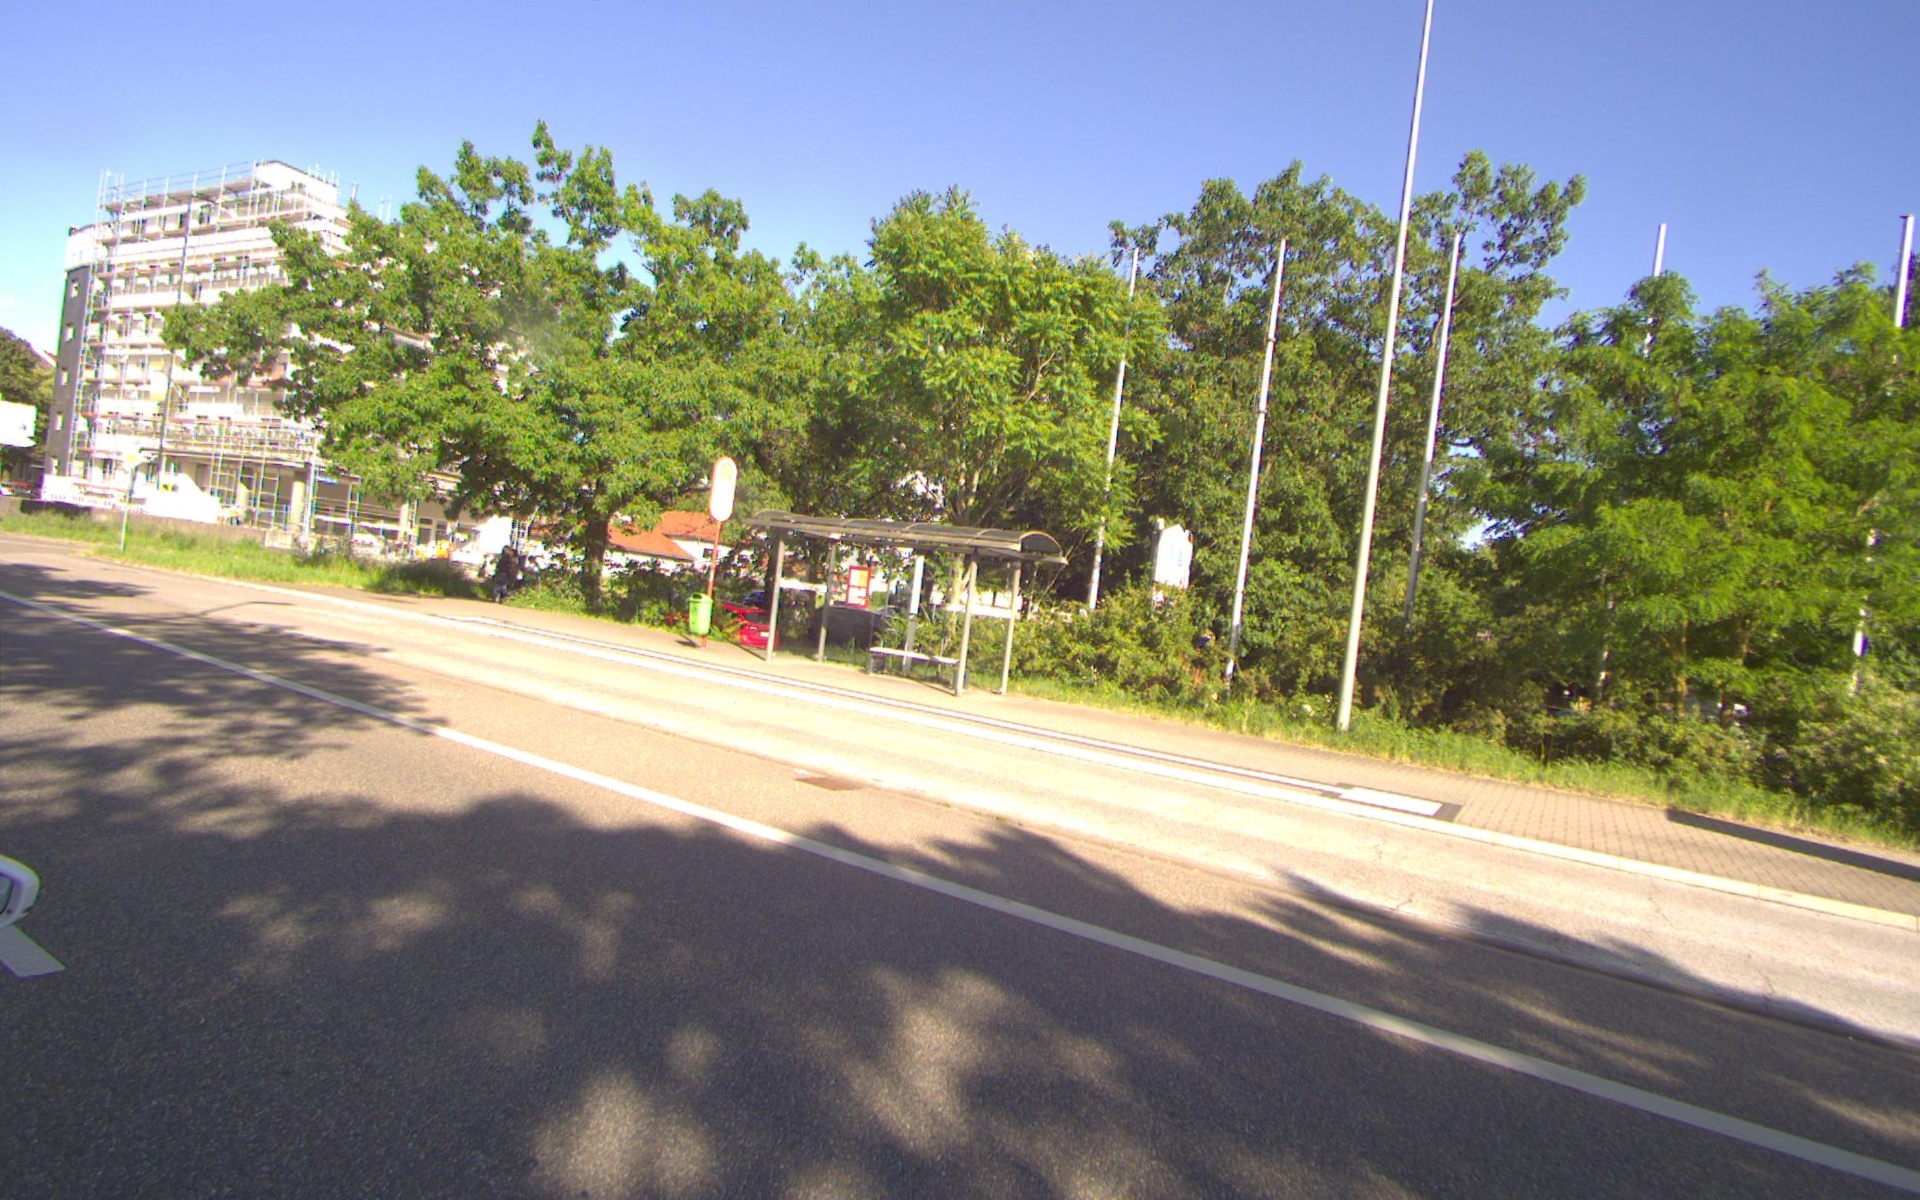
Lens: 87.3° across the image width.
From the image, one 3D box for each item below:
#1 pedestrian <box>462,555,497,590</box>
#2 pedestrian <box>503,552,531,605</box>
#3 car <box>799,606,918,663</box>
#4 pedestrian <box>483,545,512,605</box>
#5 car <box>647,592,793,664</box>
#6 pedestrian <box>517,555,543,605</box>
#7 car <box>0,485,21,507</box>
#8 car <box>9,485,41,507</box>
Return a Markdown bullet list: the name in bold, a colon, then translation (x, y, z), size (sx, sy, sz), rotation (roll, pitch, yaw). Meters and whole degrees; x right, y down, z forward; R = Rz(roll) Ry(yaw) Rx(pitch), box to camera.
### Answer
- **pedestrian**: translation (-21.764, -1.239, 45.594), size (0.947, 1.465, 0.895), rotation (7, 0, 7)
- **pedestrian**: translation (-12.741, -0.624, 28.953), size (0.517, 1.465, 0.587), rotation (7, 1, -32)
- **car**: translation (-3.589, 1.226, 35.980), size (3.674, 1.504, 1.914), rotation (7, 0, 13)
- **pedestrian**: translation (-13.072, -0.706, 28.407), size (0.517, 1.632, 0.587), rotation (7, 1, -32)
- **car**: translation (-6.870, 0.797, 28.745), size (3.680, 1.504, 1.755), rotation (7, 0, 28)
- **pedestrian**: translation (-13.398, -0.630, 31.327), size (0.517, 1.465, 0.587), rotation (7, 1, -32)
- **car**: translation (-66.547, -7.269, 69.992), size (1.521, 1.330, 3.250), rotation (7, 0, -40)
- **car**: translation (-74.204, -8.240, 79.883), size (1.521, 1.487, 3.250), rotation (7, 0, -40)
